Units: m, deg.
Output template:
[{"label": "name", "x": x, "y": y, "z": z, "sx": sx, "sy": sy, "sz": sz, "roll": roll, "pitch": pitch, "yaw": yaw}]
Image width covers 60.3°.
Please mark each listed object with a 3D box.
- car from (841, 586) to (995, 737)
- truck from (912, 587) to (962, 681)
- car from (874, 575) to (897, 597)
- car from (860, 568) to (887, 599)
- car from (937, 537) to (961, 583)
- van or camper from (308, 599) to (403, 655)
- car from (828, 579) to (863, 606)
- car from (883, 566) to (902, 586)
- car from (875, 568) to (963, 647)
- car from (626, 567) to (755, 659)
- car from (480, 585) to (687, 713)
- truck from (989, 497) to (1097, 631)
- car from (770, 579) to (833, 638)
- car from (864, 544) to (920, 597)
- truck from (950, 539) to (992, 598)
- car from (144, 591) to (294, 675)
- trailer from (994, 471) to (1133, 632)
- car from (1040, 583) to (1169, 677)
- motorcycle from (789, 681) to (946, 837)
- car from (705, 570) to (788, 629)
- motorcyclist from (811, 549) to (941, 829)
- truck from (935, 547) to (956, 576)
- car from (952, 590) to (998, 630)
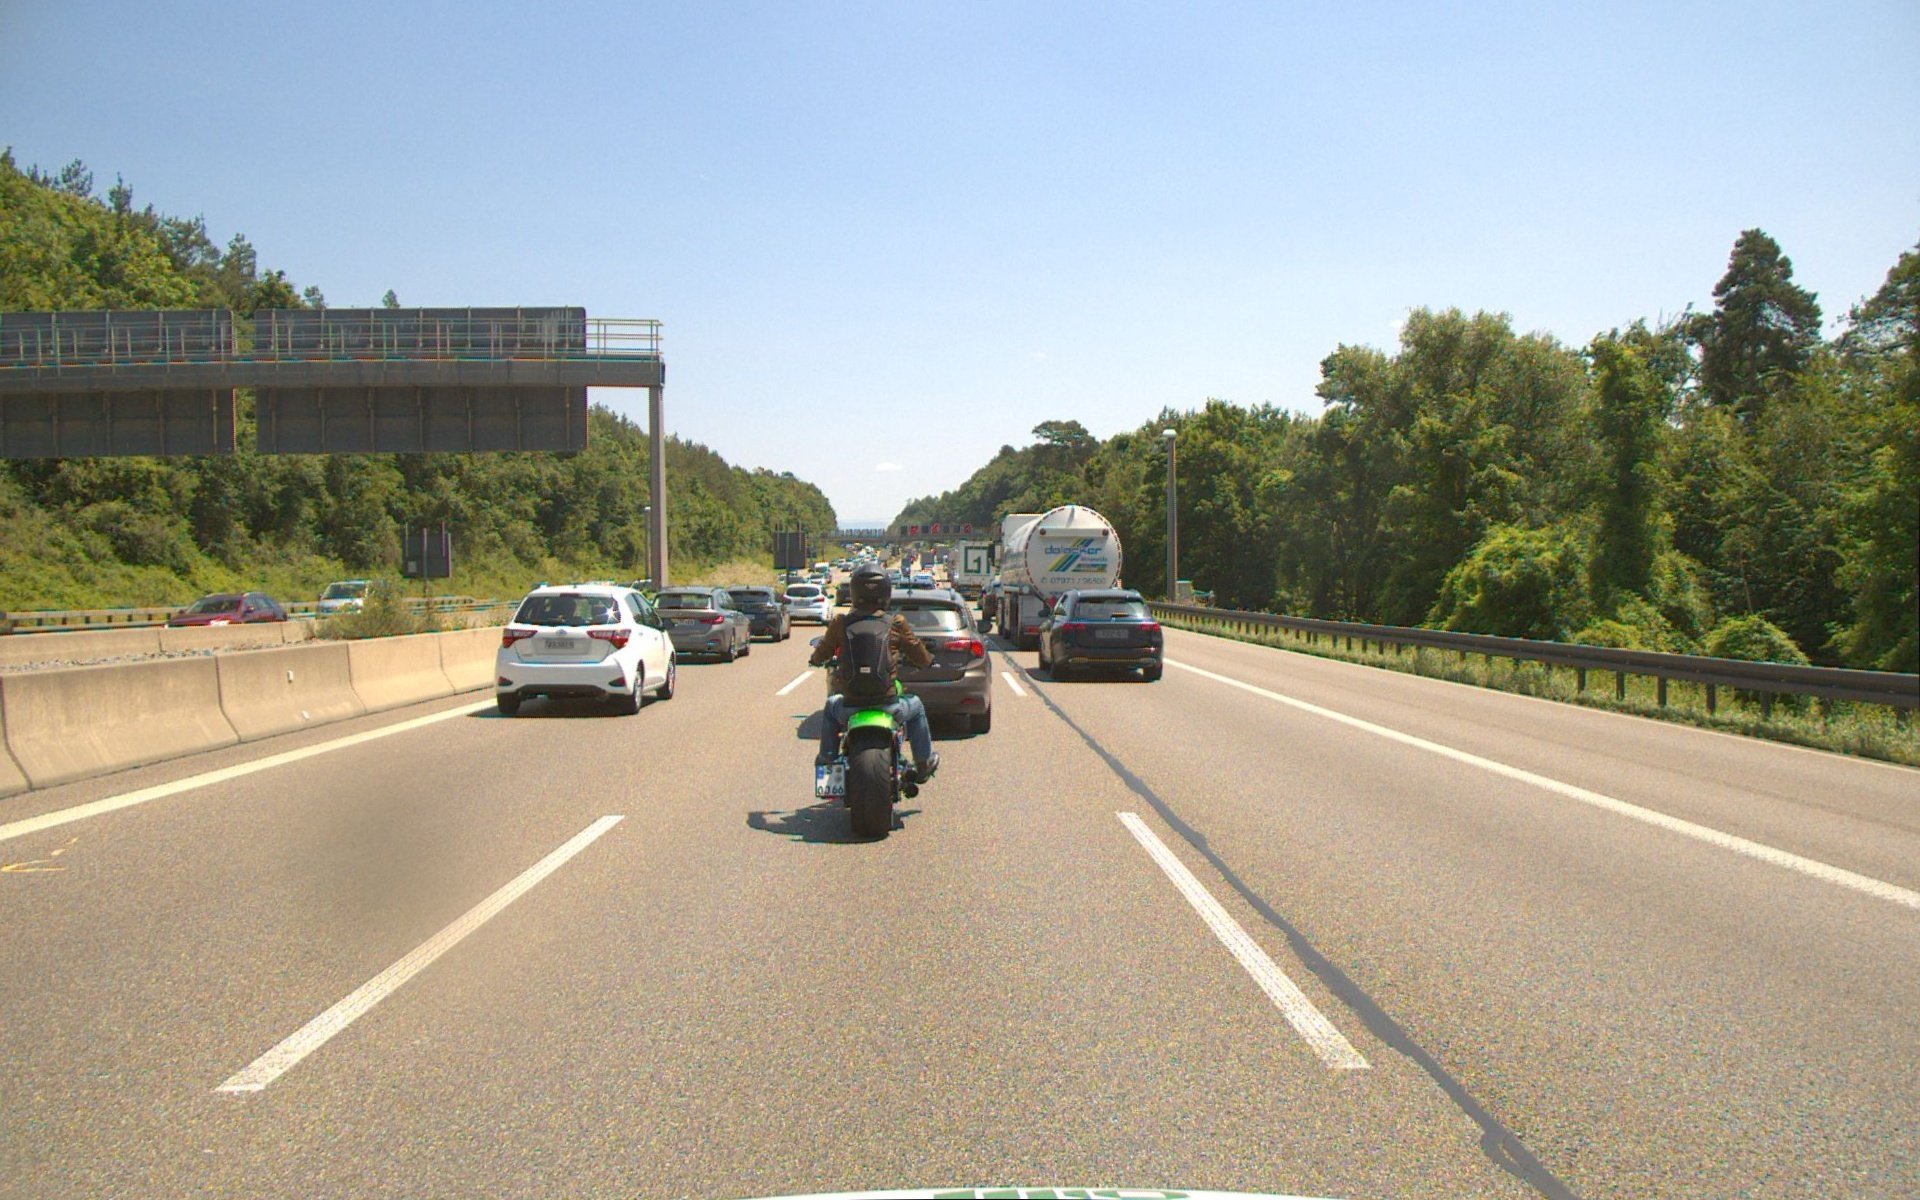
[{"label": "car", "x": -0.450, "y": 0.600, "z": 18.339, "sx": 1.509, "sy": 1.475, "sz": 3.999, "roll": 1, "pitch": 0, "yaw": -1}, {"label": "truck", "x": -1.258, "y": 1.619, "z": 86.256, "sx": 2.340, "sy": 4.542, "sz": 10.865, "roll": 0, "pitch": 1, "yaw": -2}, {"label": "car", "x": -5.781, "y": -1.059, "z": 127.967, "sx": 1.627, "sy": 1.627, "sz": 3.999, "roll": 0, "pitch": 0, "yaw": -1}, {"label": "car", "x": -5.759, "y": -1.066, "z": 110.718, "sx": 1.627, "sy": 2.012, "sz": 3.999, "roll": 0, "pitch": 0, "yaw": -1}, {"label": "car", "x": -1.063, "y": -3.639, "z": 154.861, "sx": 2.123, "sy": 3.961, "sz": 9.327, "roll": 1, "pitch": -1, "yaw": -1}, {"label": "van or camper", "x": -23.166, "y": 1.027, "z": 63.595, "sx": 1.953, "sy": 2.049, "sz": 4.680, "roll": 1, "pitch": -1, "yaw": -1}, {"label": "car", "x": -6.369, "y": -0.421, "z": 92.558, "sx": 1.728, "sy": 1.467, "sz": 3.999, "roll": 0, "pitch": 0, "yaw": -1}, {"label": "car", "x": -7.211, "y": -2.509, "z": 176.768, "sx": 1.953, "sy": 2.049, "sz": 3.999, "roll": -1, "pitch": 0, "yaw": -1}, {"label": "car", "x": -0.983, "y": 0.186, "z": 39.020, "sx": 1.953, "sy": 1.741, "sz": 3.998, "roll": 1, "pitch": -1, "yaw": -2}, {"label": "car", "x": -5.316, "y": 0.270, "z": 33.155, "sx": 1.953, "sy": 1.713, "sz": 4.329, "roll": 1, "pitch": -1, "yaw": -1}, {"label": "car", "x": -4.596, "y": 0.576, "z": 20.745, "sx": 1.740, "sy": 1.435, "sz": 3.999, "roll": 1, "pitch": -1, "yaw": -1}, {"label": "truck", "x": 2.394, "y": -0.980, "z": 49.625, "sx": 2.770, "sy": 3.735, "sz": 6.427, "roll": 1, "pitch": -1, "yaw": -1}, {"label": "car", "x": -5.692, "y": 0.319, "z": 59.788, "sx": 1.953, "sy": 2.049, "sz": 3.998, "roll": 1, "pitch": -1, "yaw": -2}, {"label": "car", "x": -2.452, "y": -1.037, "z": 59.922, "sx": 1.953, "sy": 1.806, "sz": 3.998, "roll": 1, "pitch": -1, "yaw": -2}, {"label": "truck", "x": 0.801, "y": -2.182, "z": 117.261, "sx": 2.794, "sy": 3.888, "sz": 7.188, "roll": 0, "pitch": -1, "yaw": 2}, {"label": "car", "x": -19.142, "y": 0.843, "z": 42.955, "sx": 1.953, "sy": 2.049, "sz": 4.282, "roll": 1, "pitch": -1, "yaw": 0}, {"label": "trailer", "x": 2.518, "y": -1.060, "z": 43.852, "sx": 2.770, "sy": 3.735, "sz": 10.729, "roll": 1, "pitch": -1, "yaw": -1}, {"label": "car", "x": 2.418, "y": 0.510, "z": 28.702, "sx": 1.756, "sy": 1.484, "sz": 4.622, "roll": 1, "pitch": -1, "yaw": -1}, {"label": "motorcycle", "x": -0.566, "y": 0.993, "z": 10.893, "sx": 0.917, "sy": 0.807, "sz": 2.298, "roll": 1, "pitch": 0, "yaw": -1}, {"label": "car", "x": -5.628, "y": 0.012, "z": 43.945, "sx": 1.954, "sy": 1.490, "sz": 3.996, "roll": 1, "pitch": -1, "yaw": -4}, {"label": "motorcyclist", "x": -0.528, "y": 0.555, "z": 10.680, "sx": 0.782, "sy": 1.717, "sz": 1.016, "roll": 1, "pitch": -1, "yaw": -1}, {"label": "truck", "x": -1.937, "y": -4.912, "z": 214.148, "sx": 2.641, "sy": 3.465, "sz": 10.475, "roll": -1, "pitch": 0, "yaw": -1}, {"label": "car", "x": 0.561, "y": 0.432, "z": 67.039, "sx": 1.740, "sy": 1.554, "sz": 3.999, "roll": 1, "pitch": -1, "yaw": -1}]
